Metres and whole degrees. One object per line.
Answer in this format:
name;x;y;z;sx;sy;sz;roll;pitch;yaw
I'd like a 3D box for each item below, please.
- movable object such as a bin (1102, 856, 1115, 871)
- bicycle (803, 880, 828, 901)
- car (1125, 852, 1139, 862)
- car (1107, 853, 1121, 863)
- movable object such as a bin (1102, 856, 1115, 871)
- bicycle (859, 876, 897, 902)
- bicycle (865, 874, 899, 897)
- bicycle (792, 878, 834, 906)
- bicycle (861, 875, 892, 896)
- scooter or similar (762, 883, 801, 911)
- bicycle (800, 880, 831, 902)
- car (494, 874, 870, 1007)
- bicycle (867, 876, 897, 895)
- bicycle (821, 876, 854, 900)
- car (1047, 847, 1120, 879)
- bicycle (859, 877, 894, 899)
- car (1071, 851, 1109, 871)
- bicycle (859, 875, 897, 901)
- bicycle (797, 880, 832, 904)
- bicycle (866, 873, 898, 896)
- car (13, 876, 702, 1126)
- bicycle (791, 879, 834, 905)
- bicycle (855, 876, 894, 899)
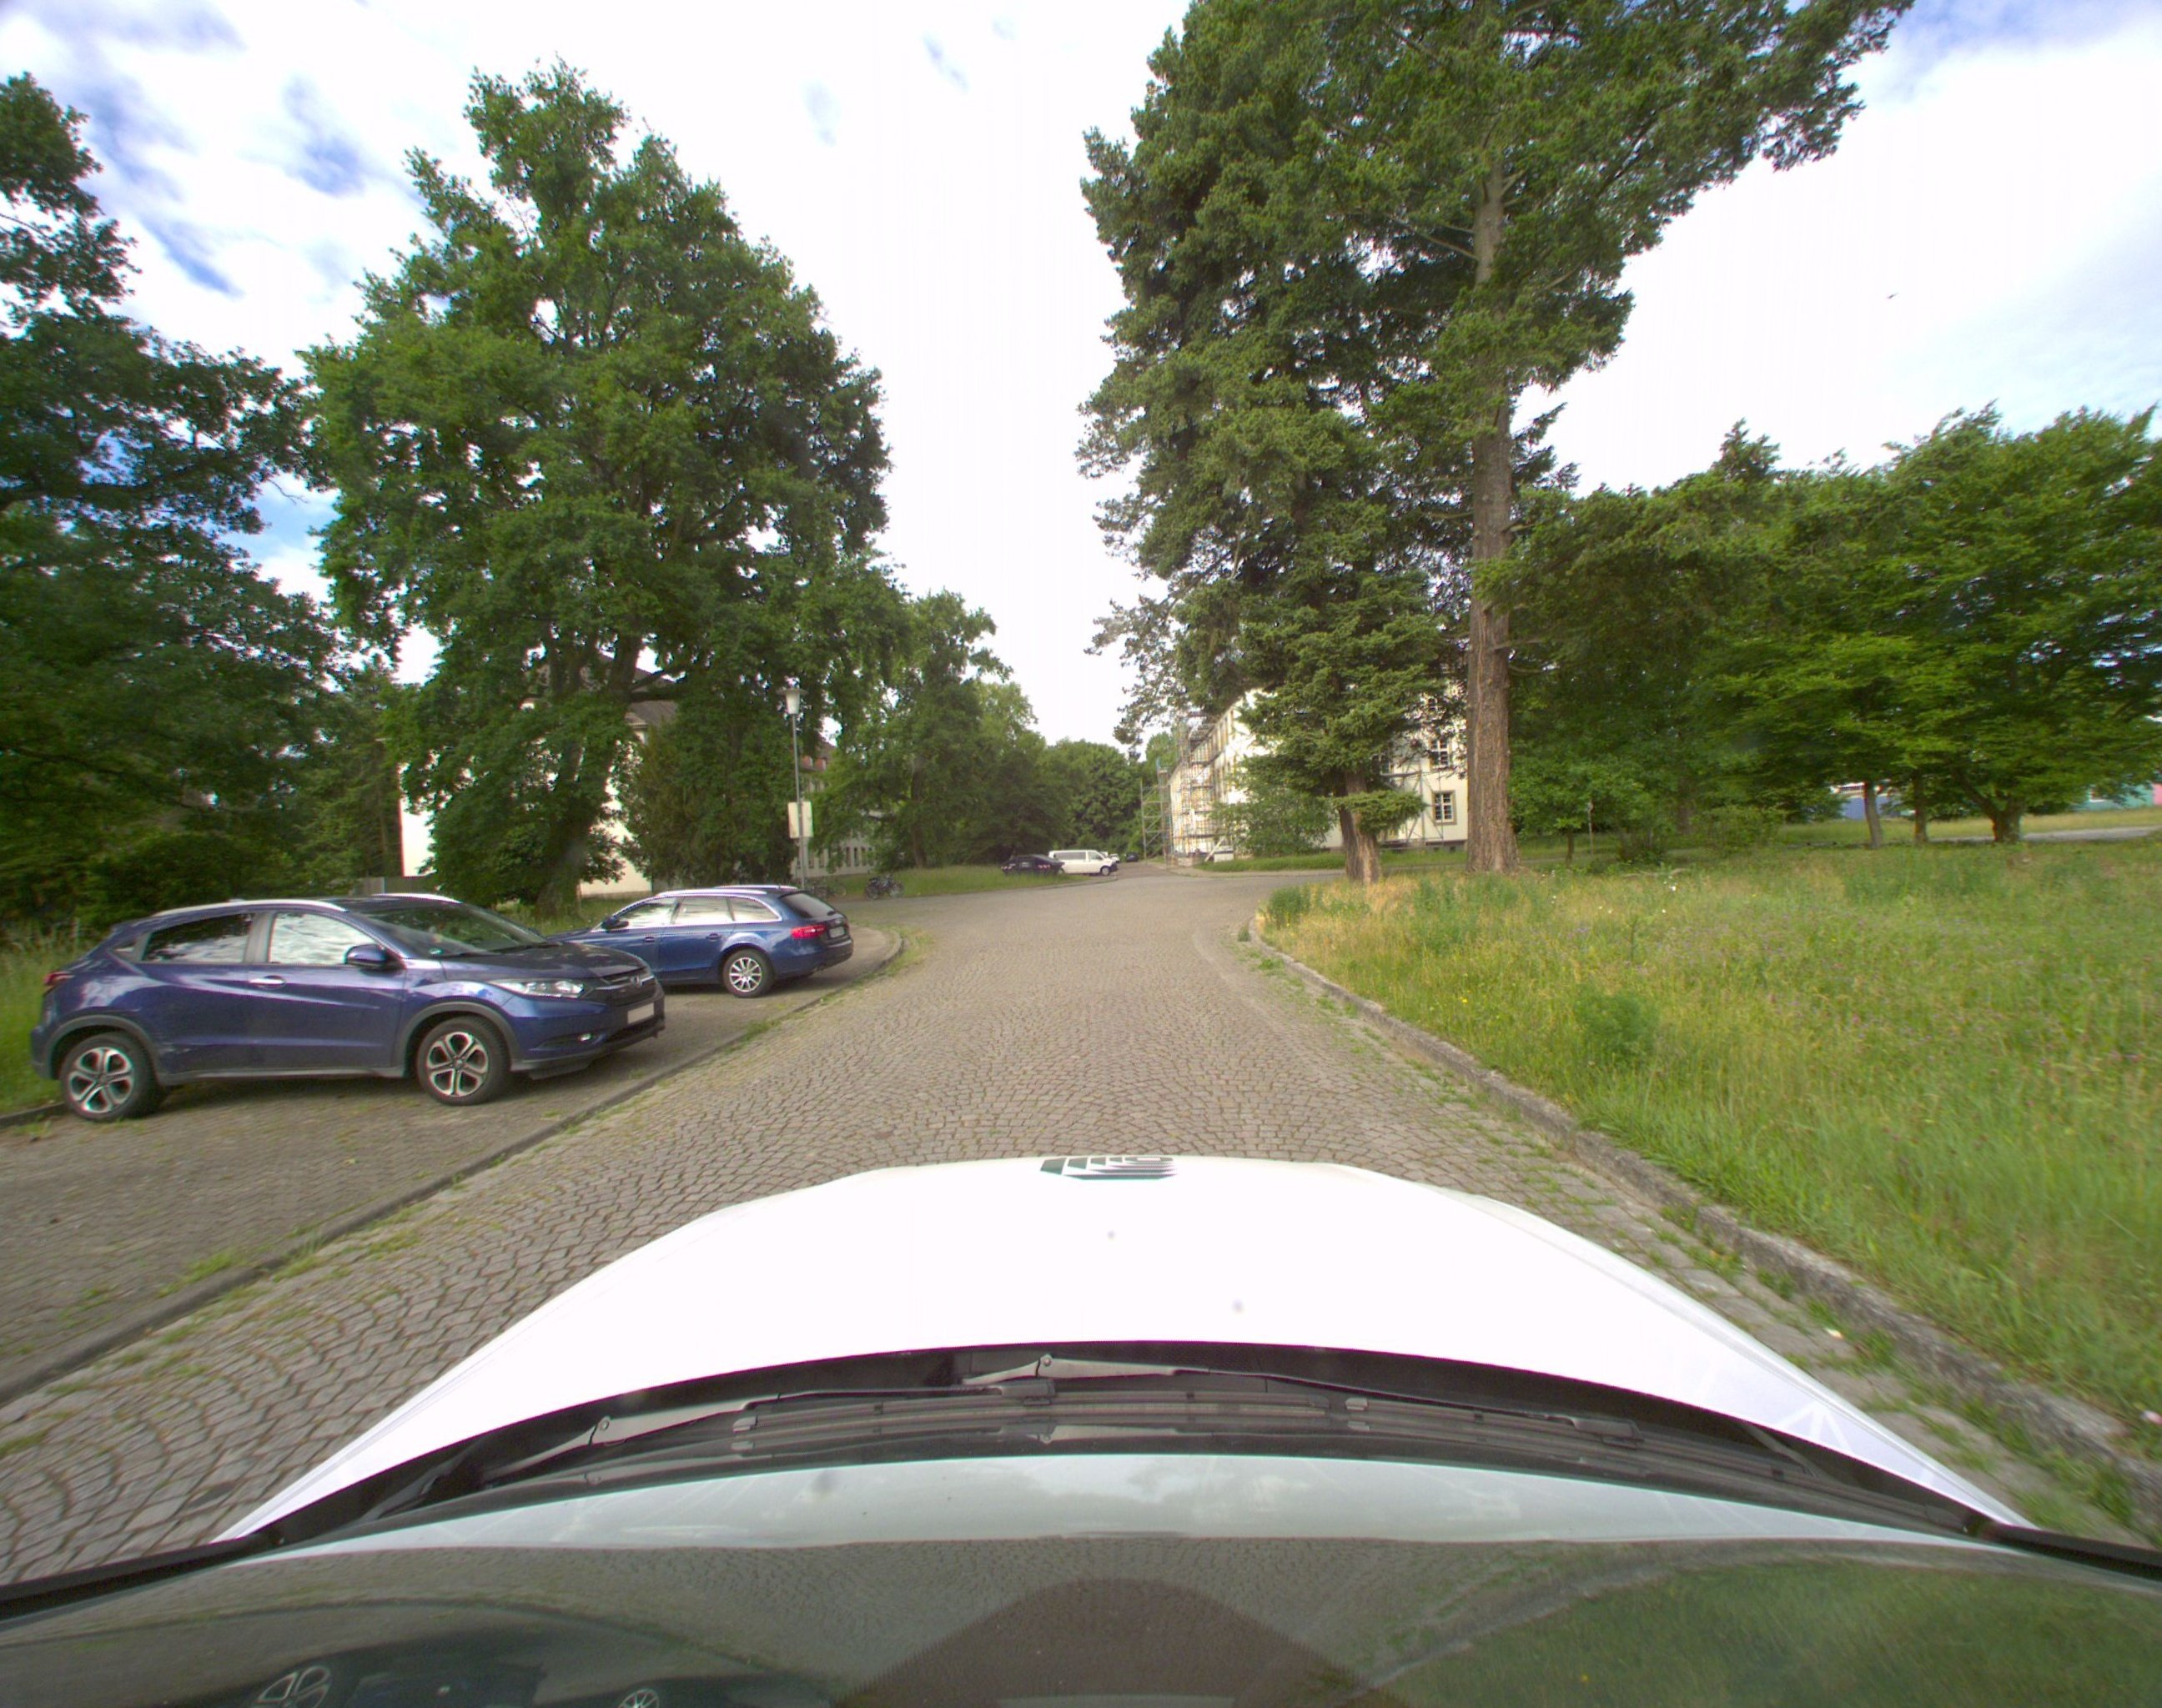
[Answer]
movable object such as a bin;2.689;0.936;79.848;1.179;1.407;0.976;-1;-1;3
bicycle;-15.155;2.089;46.486;1.262;1.029;0.431;-5;-2;-17
car;7.981;0.464;126.580;2.053;1.593;4.005;-1;-1;5
car;5.139;0.670;126.349;1.995;1.548;3.957;-1;-1;-1
movable object such as a bin;2.632;0.928;78.667;1.179;1.407;0.976;-1;-1;3
bicycle;-10.393;1.767;41.639;1.772;1.103;0.698;-5;2;-17
bicycle;-11.144;1.757;45.664;1.775;1.105;0.538;-5;2;-17
bicycle;-13.362;1.888;40.686;1.900;1.222;0.640;-3;2;-17
bicycle;-11.702;1.792;46.637;1.620;1.058;0.524;-5;2;-17
scooter or similar;-14.659;2.103;39.855;1.540;1.195;0.683;-4;1;5
bicycle;-14.378;1.992;44.115;1.520;1.035;0.540;-4;2;-28
car;-5.467;1.167;11.501;4.412;1.480;1.684;-3;0;3
bicycle;-11.538;1.824;47.255;1.620;0.910;0.524;-5;2;-17
bicycle;-13.526;1.857;45.253;1.646;1.185;0.570;-4;2;-24
car;0.211;0.665;60.410;5.182;2.060;2.188;-2;-1;1
bicycle;-10.817;1.800;43.019;1.695;1.001;0.628;-5;2;-17
car;0.979;0.753;87.933;3.977;2.014;1.920;-1;-1;-2
bicycle;-10.568;1.763;42.359;1.798;1.103;0.698;-5;2;-17
bicycle;-14.004;1.991;42.786;1.634;1.073;0.535;-4;2;-28
bicycle;-11.291;1.748;46.182;1.701;1.116;0.538;-5;2;-17
car;-5.710;1.098;6.844;4.124;1.573;1.790;-3;-1;0
bicycle;-13.606;1.920;41.300;1.990;1.114;0.640;-3;2;-17
bicycle;-11.112;1.801;43.784;1.959;1.004;0.682;-5;2;-17
